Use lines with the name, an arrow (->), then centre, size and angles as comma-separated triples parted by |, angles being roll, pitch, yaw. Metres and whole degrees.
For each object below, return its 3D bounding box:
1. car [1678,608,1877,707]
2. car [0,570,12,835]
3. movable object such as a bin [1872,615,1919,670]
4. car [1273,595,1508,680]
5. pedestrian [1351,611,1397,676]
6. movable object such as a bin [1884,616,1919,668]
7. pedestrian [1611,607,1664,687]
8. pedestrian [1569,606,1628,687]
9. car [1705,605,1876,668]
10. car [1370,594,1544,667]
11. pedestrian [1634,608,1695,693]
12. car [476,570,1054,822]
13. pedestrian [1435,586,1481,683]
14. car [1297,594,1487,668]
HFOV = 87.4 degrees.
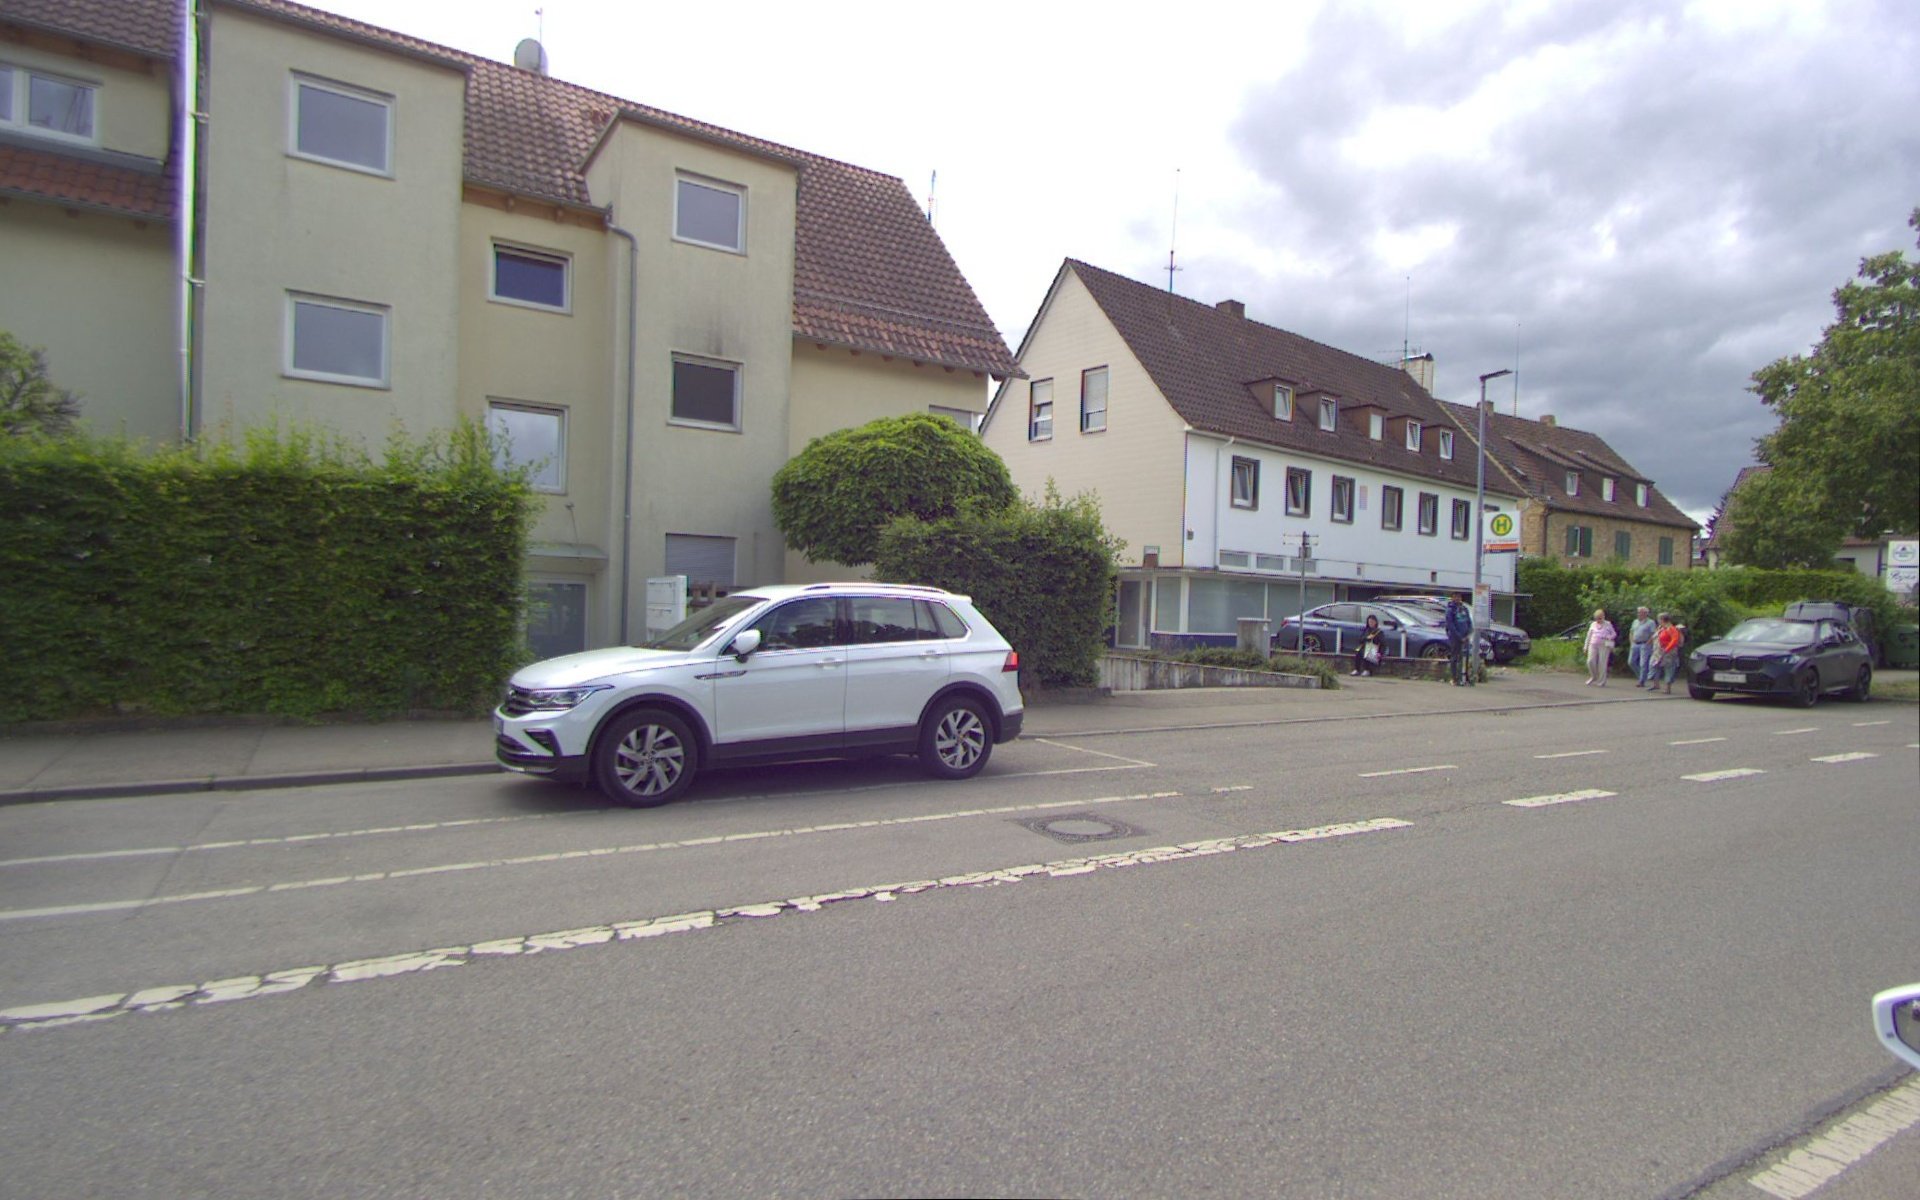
car -> 16.351, 1.090, 20.022 | 4.514, 1.748, 1.714 | 1, 0, -32
car -> -7.126, 0.571, 4.253 | 4.225, 1.572, 1.668 | 1, 0, -32
movable object such as a bin -> 30.773, 1.383, 32.797 | 0.987, 1.673, 1.198 | 1, 2, -32
car -> 9.691, 0.779, 22.820 | 4.464, 1.574, 2.024 | 3, 1, 44
pedestrian -> 8.661, 0.897, 21.019 | 0.697, 1.330, 0.585 | 1, 0, -29
movable object such as a bin -> 32.107, 1.419, 33.810 | 0.987, 1.673, 1.198 | 1, 2, -32
pedestrian -> 14.765, 1.012, 21.899 | 0.586, 1.685, 0.781 | 1, 0, -37
pedestrian -> 13.627, 0.973, 21.434 | 0.873, 1.685, 0.781 | 1, 0, -37
car -> 27.649, 1.160, 33.572 | 1.976, 1.917, 3.968 | 1, 0, -30
car -> 13.074, 0.727, 26.674 | 1.840, 1.714, 3.982 | -2, 1, -19
pedestrian -> 14.539, 1.025, 20.731 | 0.747, 1.686, 0.781 | 1, 2, -37
car -> -1.539, 0.675, 8.626 | 4.537, 1.656, 1.810 | 1, -1, -33
pedestrian -> 9.646, 0.658, 19.466 | 0.664, 1.830, 0.501 | 1, 0, -30
car -> 10.683, 0.703, 25.066 | 1.774, 1.502, 3.959 | 1, 3, -36
